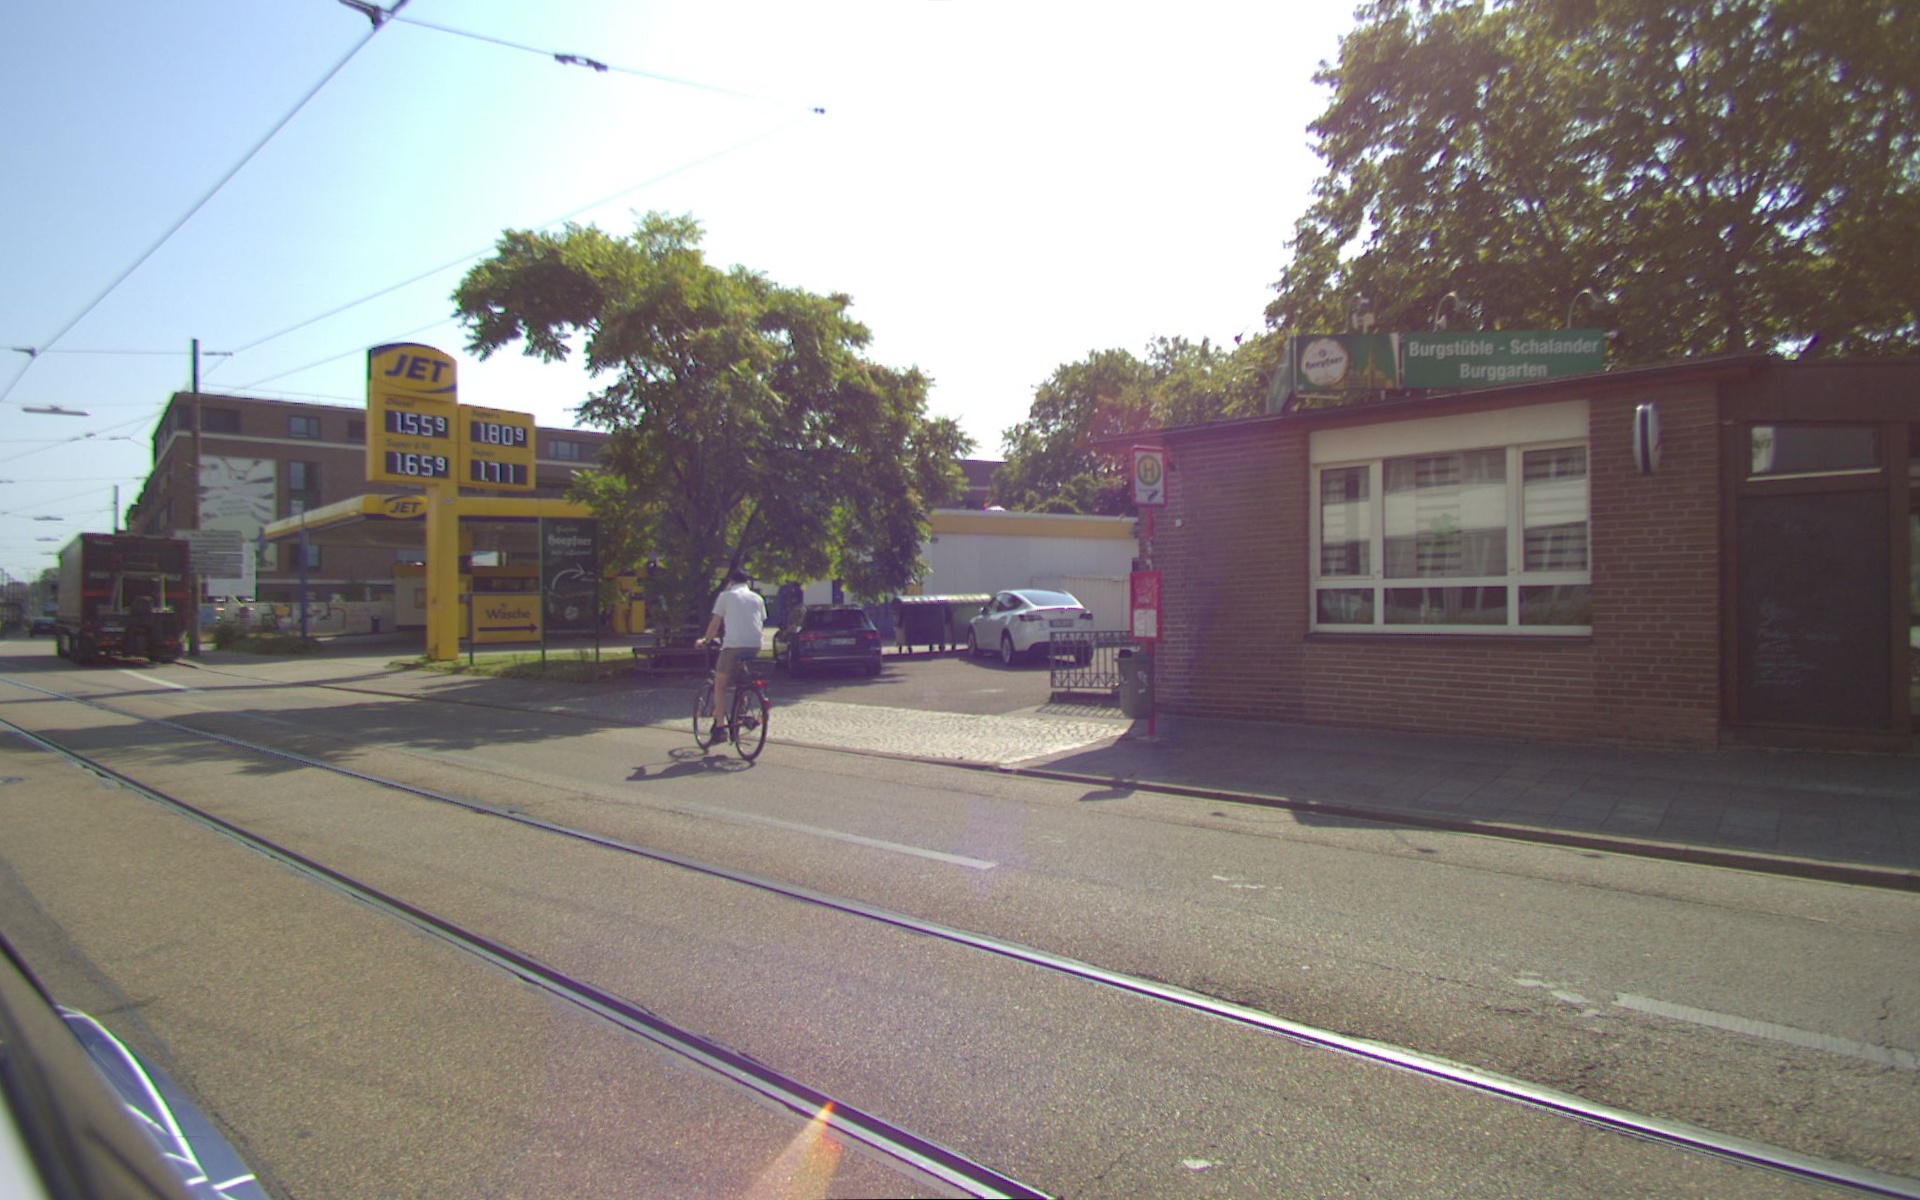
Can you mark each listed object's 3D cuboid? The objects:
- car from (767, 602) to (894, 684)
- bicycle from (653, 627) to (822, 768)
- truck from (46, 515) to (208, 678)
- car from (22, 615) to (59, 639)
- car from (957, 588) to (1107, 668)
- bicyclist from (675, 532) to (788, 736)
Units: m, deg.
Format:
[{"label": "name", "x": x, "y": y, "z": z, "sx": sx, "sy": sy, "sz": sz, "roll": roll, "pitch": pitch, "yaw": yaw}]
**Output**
[{"label": "car", "x": -2.772, "y": 0.789, "z": 20.751, "sx": 1.905, "sy": 1.472, "sz": 4.541, "roll": -1, "pitch": 0, "yaw": -16}, {"label": "bicycle", "x": -2.309, "y": 0.923, "z": 10.308, "sx": 0.776, "sy": 1.249, "sz": 2.036, "roll": 0, "pitch": 0, "yaw": -42}, {"label": "truck", "x": -29.308, "y": -0.034, "z": 35.118, "sx": 3.128, "sy": 4.487, "sz": 16.855, "roll": 0, "pitch": 0, "yaw": -44}, {"label": "car", "x": -66.754, "y": 1.918, "z": 73.447, "sx": 4.001, "sy": 1.679, "sz": 1.754, "roll": -1, "pitch": 0, "yaw": 44}, {"label": "car", "x": 1.484, "y": 0.571, "z": 22.867, "sx": 1.905, "sy": 1.610, "sz": 4.541, "roll": -1, "pitch": 0, "yaw": -16}, {"label": "bicyclist", "x": -2.341, "y": 0.328, "z": 10.316, "sx": 0.633, "sy": 1.944, "sz": 1.177, "roll": 0, "pitch": 0, "yaw": -41}]
